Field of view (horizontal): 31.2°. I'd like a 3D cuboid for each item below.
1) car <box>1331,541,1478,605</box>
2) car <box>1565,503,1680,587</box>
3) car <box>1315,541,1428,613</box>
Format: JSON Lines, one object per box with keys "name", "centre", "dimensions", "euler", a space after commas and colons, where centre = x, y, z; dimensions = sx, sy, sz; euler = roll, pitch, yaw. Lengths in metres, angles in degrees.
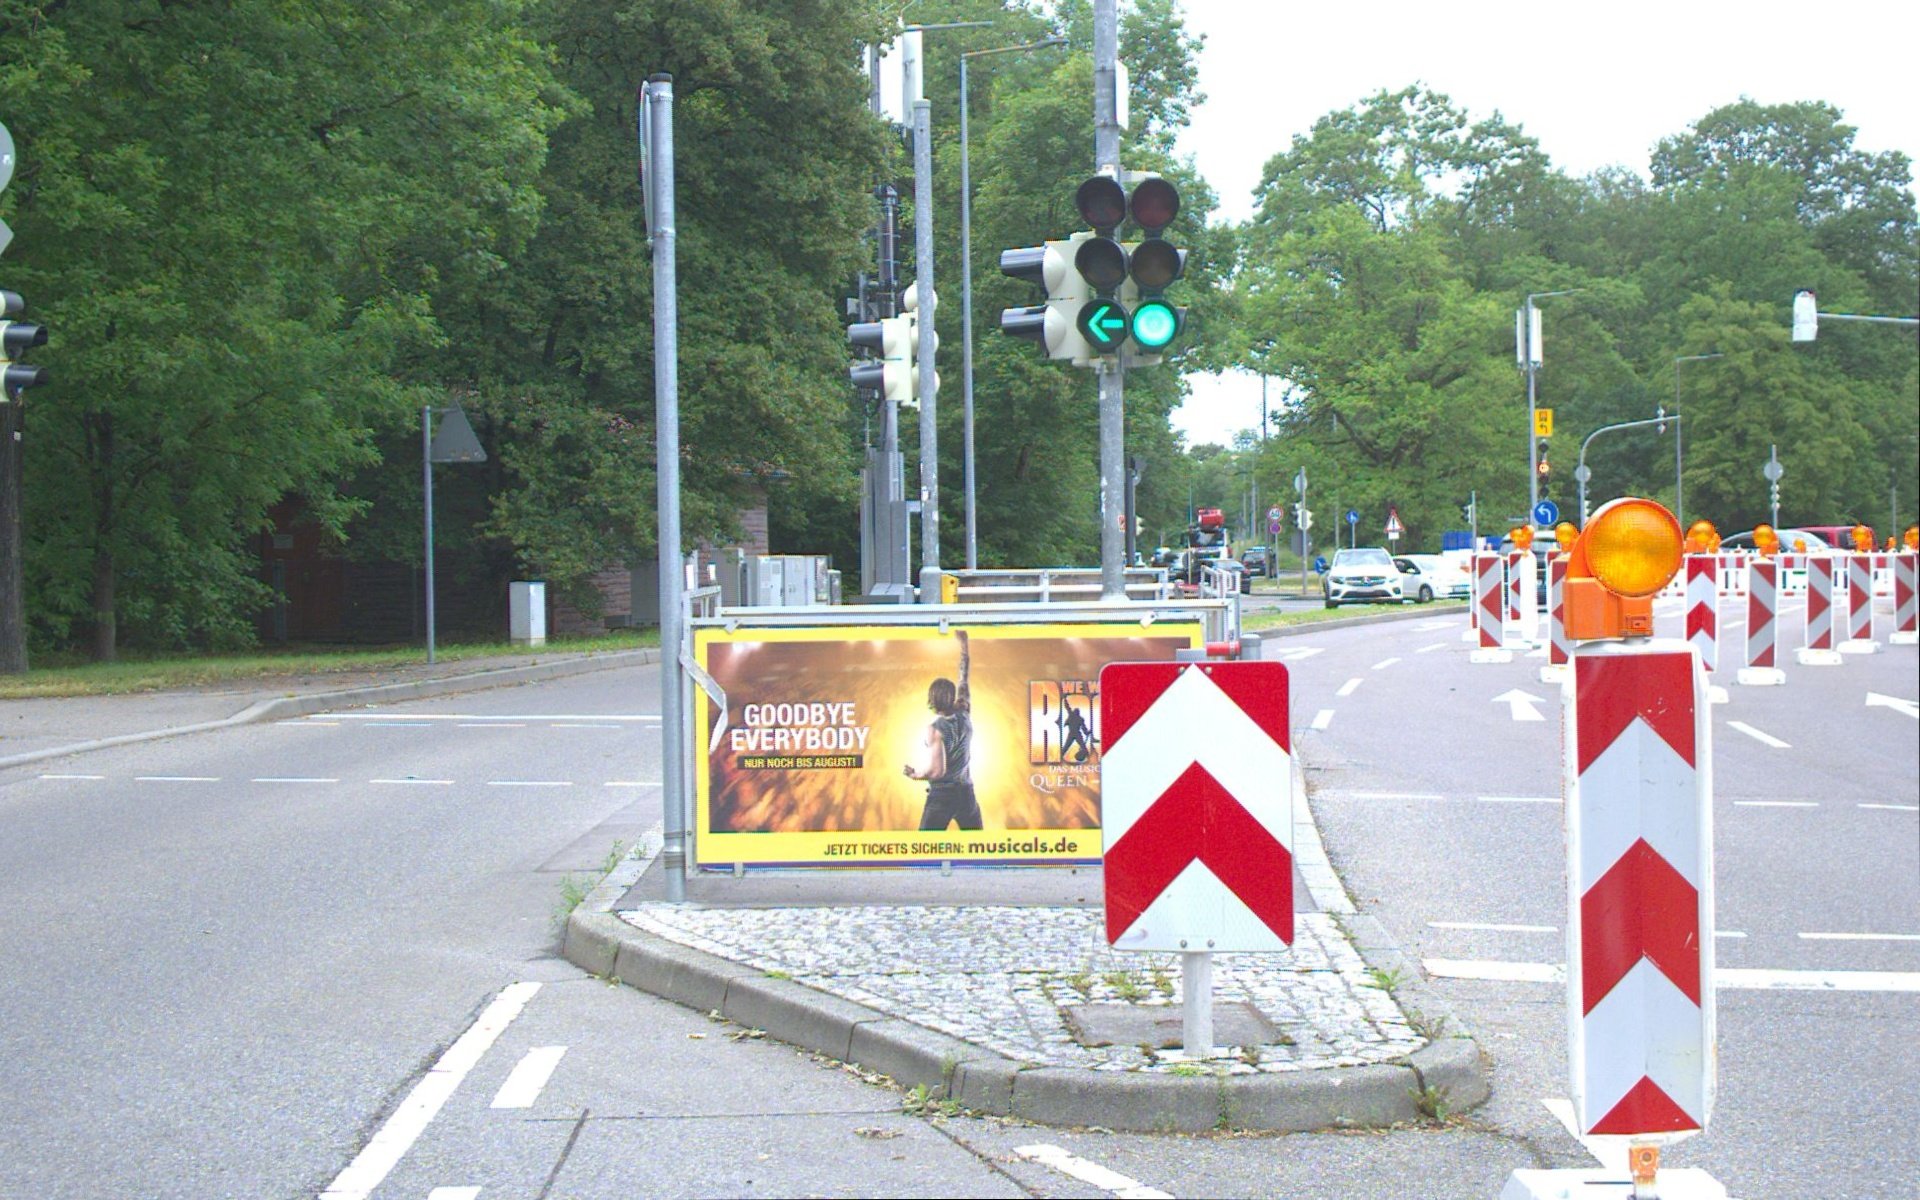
{"name": "car", "centre": [13.286, -0.821, 102.970], "dimensions": [1.994, 1.875, 3.998], "euler": [0, 1, -43]}
{"name": "car", "centre": [14.171, -1.158, 73.387], "dimensions": [1.798, 1.732, 3.699], "euler": [1, 1, 21]}
{"name": "car", "centre": [10.485, -0.590, 87.335], "dimensions": [1.995, 1.744, 4.575], "euler": [1, 1, 18]}
